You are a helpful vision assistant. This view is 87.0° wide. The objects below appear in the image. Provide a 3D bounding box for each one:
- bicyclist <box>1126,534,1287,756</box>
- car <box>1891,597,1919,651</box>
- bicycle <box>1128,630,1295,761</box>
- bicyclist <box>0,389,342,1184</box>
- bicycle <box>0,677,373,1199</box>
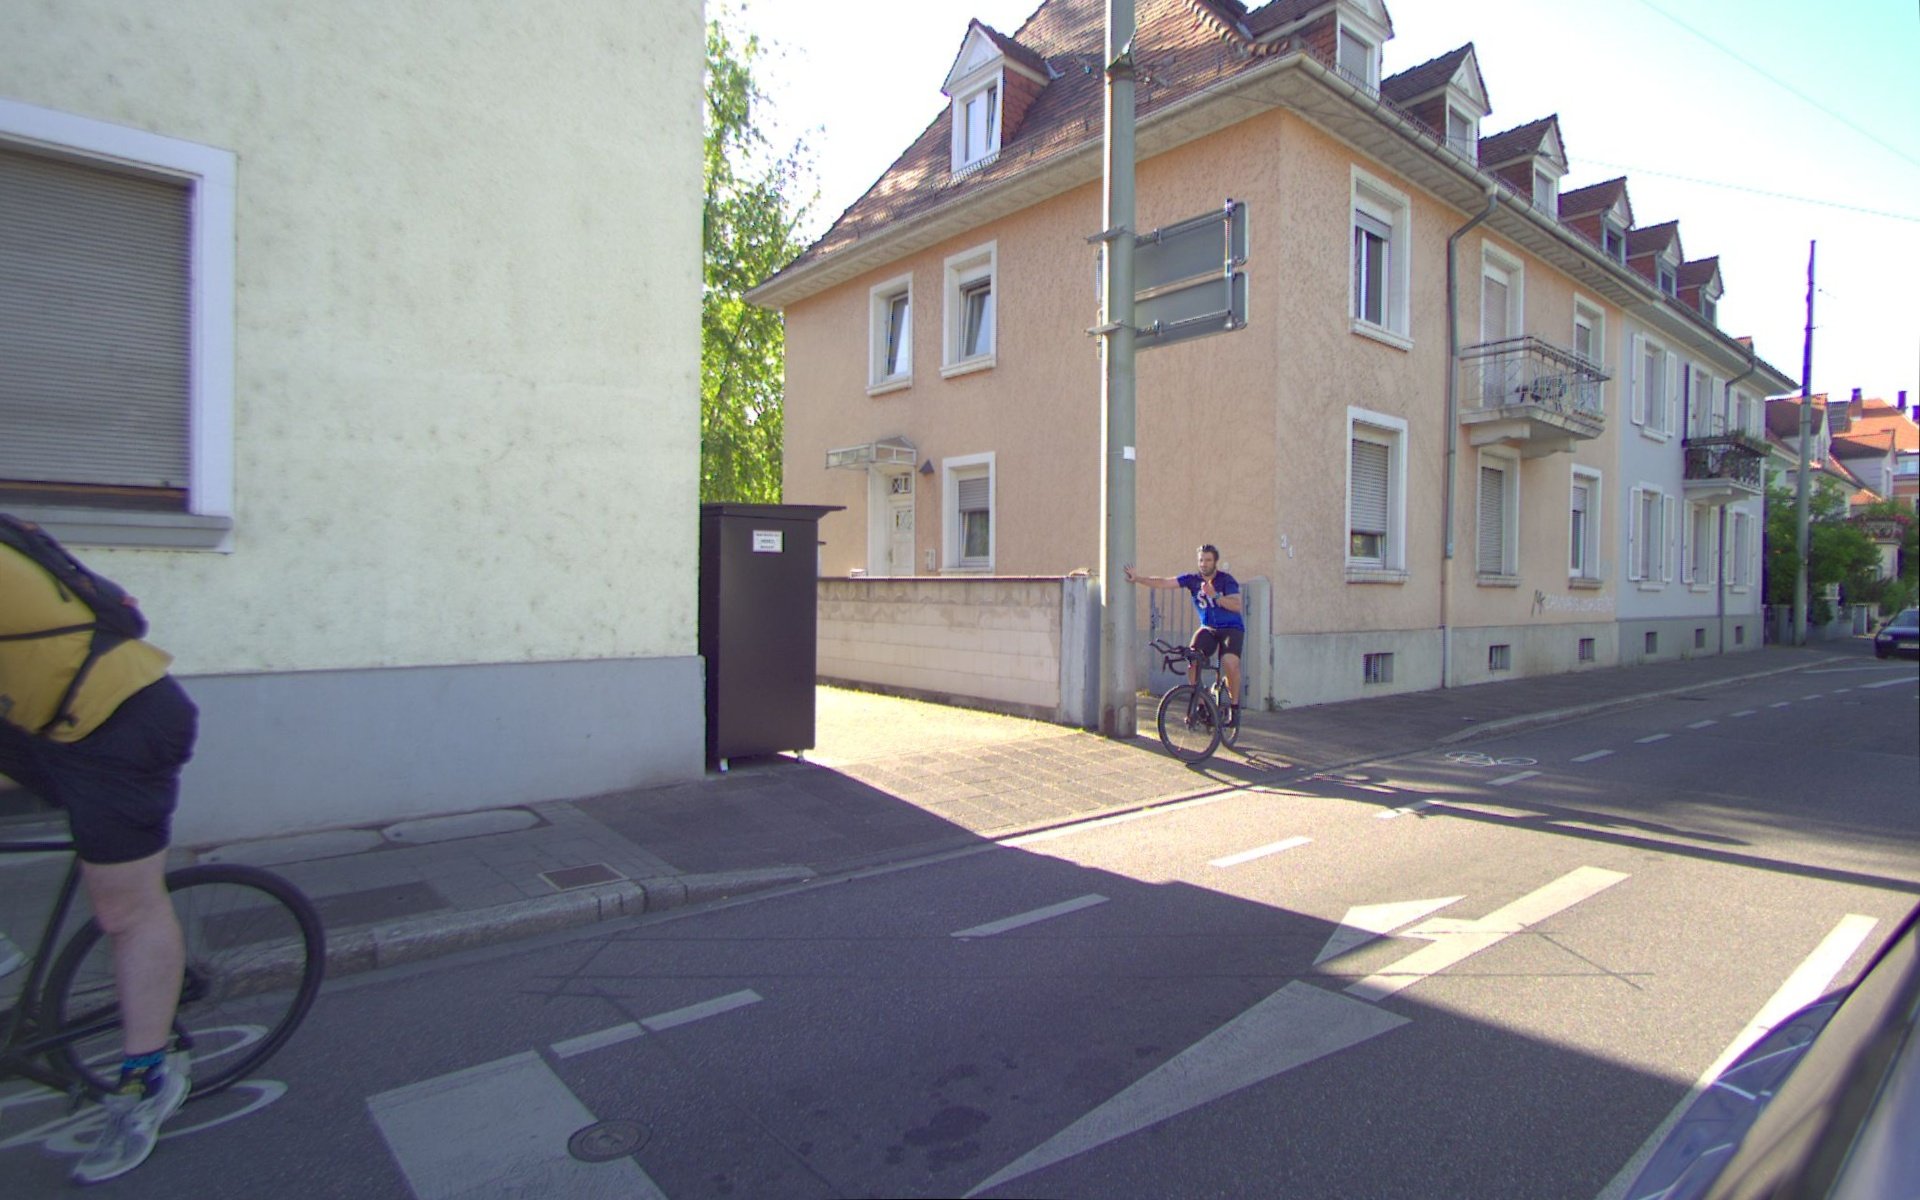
[{"bbox_3d":[2.282,0.366,9.435,0.831,1.887,1.076,0,4,-40],"label":"bicyclist"},{"bbox_3d":[26.696,0.633,27.344,3.796,1.382,1.648,0,1,-38],"label":"car"},{"bbox_3d":[2.315,0.823,9.209,1.669,1.003,0.572,0,4,-41],"label":"bicycle"},{"bbox_3d":[-2.302,0.427,2.700,1.018,1.840,0.653,0,1,-41],"label":"bicyclist"},{"bbox_3d":[-2.478,0.849,2.535,1.669,1.180,0.572,0,1,-41],"label":"bicycle"}]
